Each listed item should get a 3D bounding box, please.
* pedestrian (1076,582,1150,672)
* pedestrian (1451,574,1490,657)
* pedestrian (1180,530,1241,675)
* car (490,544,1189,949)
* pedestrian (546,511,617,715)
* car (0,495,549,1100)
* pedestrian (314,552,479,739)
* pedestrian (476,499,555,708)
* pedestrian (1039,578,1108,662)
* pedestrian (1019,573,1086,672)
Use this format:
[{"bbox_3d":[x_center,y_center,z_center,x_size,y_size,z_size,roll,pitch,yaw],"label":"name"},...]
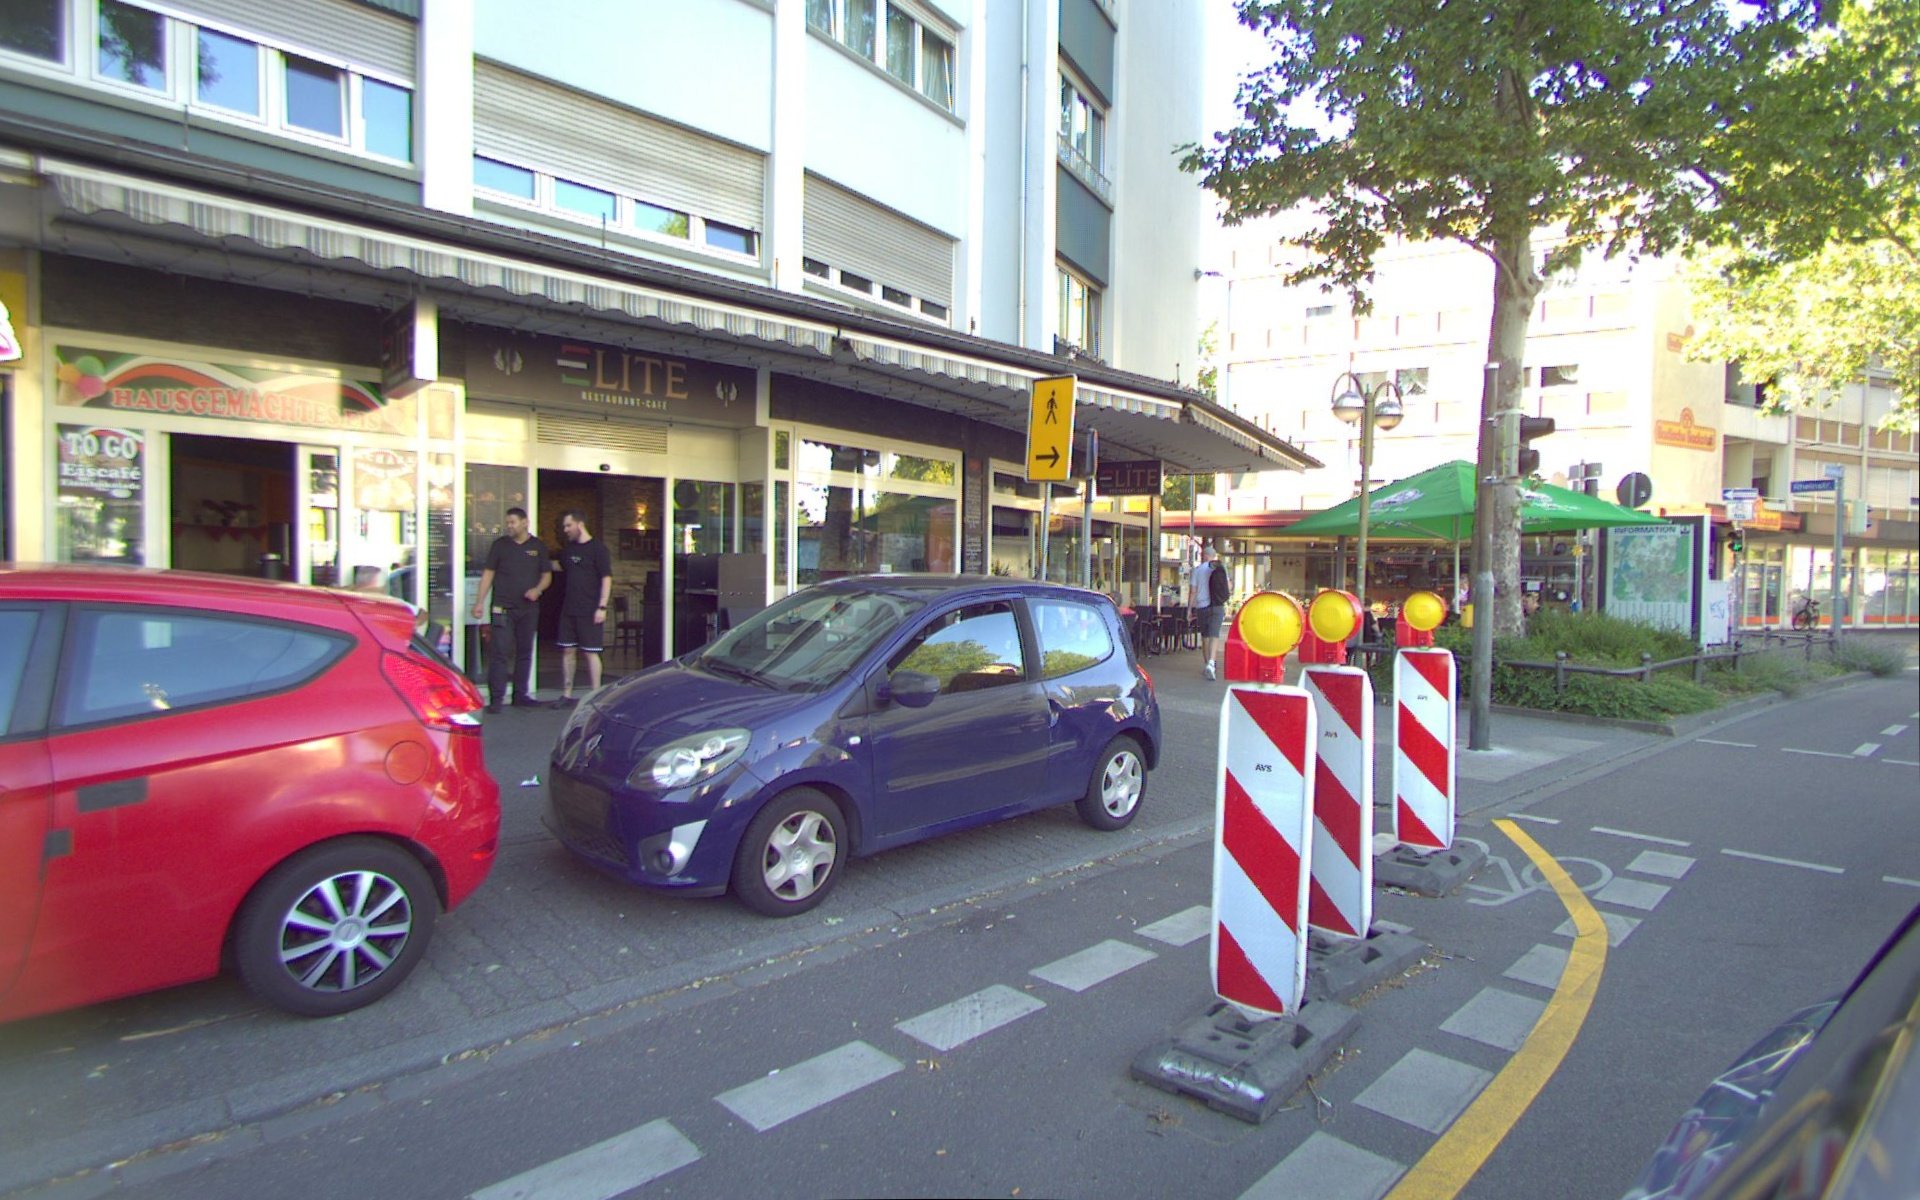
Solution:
[{"bbox_3d":[2.147,0.356,14.271,0.685,1.207,0.881,0,1,-18],"label":"pedestrian"},{"bbox_3d":[10.448,0.297,20.723,0.624,1.657,0.525,2,1,34],"label":"pedestrian"},{"bbox_3d":[3.576,0.018,14.424,0.642,1.983,0.882,1,1,26],"label":"pedestrian"},{"bbox_3d":[-0.494,0.513,5.733,3.551,1.485,1.769,-1,5,-44],"label":"car"},{"bbox_3d":[-3.416,0.108,9.152,0.545,1.803,0.397,1,3,-11],"label":"pedestrian"},{"bbox_3d":[-3.477,0.477,3.028,3.761,1.614,1.784,-1,5,-45],"label":"car"},{"bbox_3d":[-4.474,0.311,8.020,0.937,1.352,1.069,0,2,-42],"label":"pedestrian"},{"bbox_3d":[-3.973,0.016,9.047,0.547,1.800,0.395,-1,4,-43],"label":"pedestrian"},{"bbox_3d":[1.691,0.287,15.113,0.776,1.207,0.648,0,1,-34],"label":"pedestrian"},{"bbox_3d":[1.262,0.292,13.905,0.685,1.323,0.793,1,1,-13],"label":"pedestrian"}]
